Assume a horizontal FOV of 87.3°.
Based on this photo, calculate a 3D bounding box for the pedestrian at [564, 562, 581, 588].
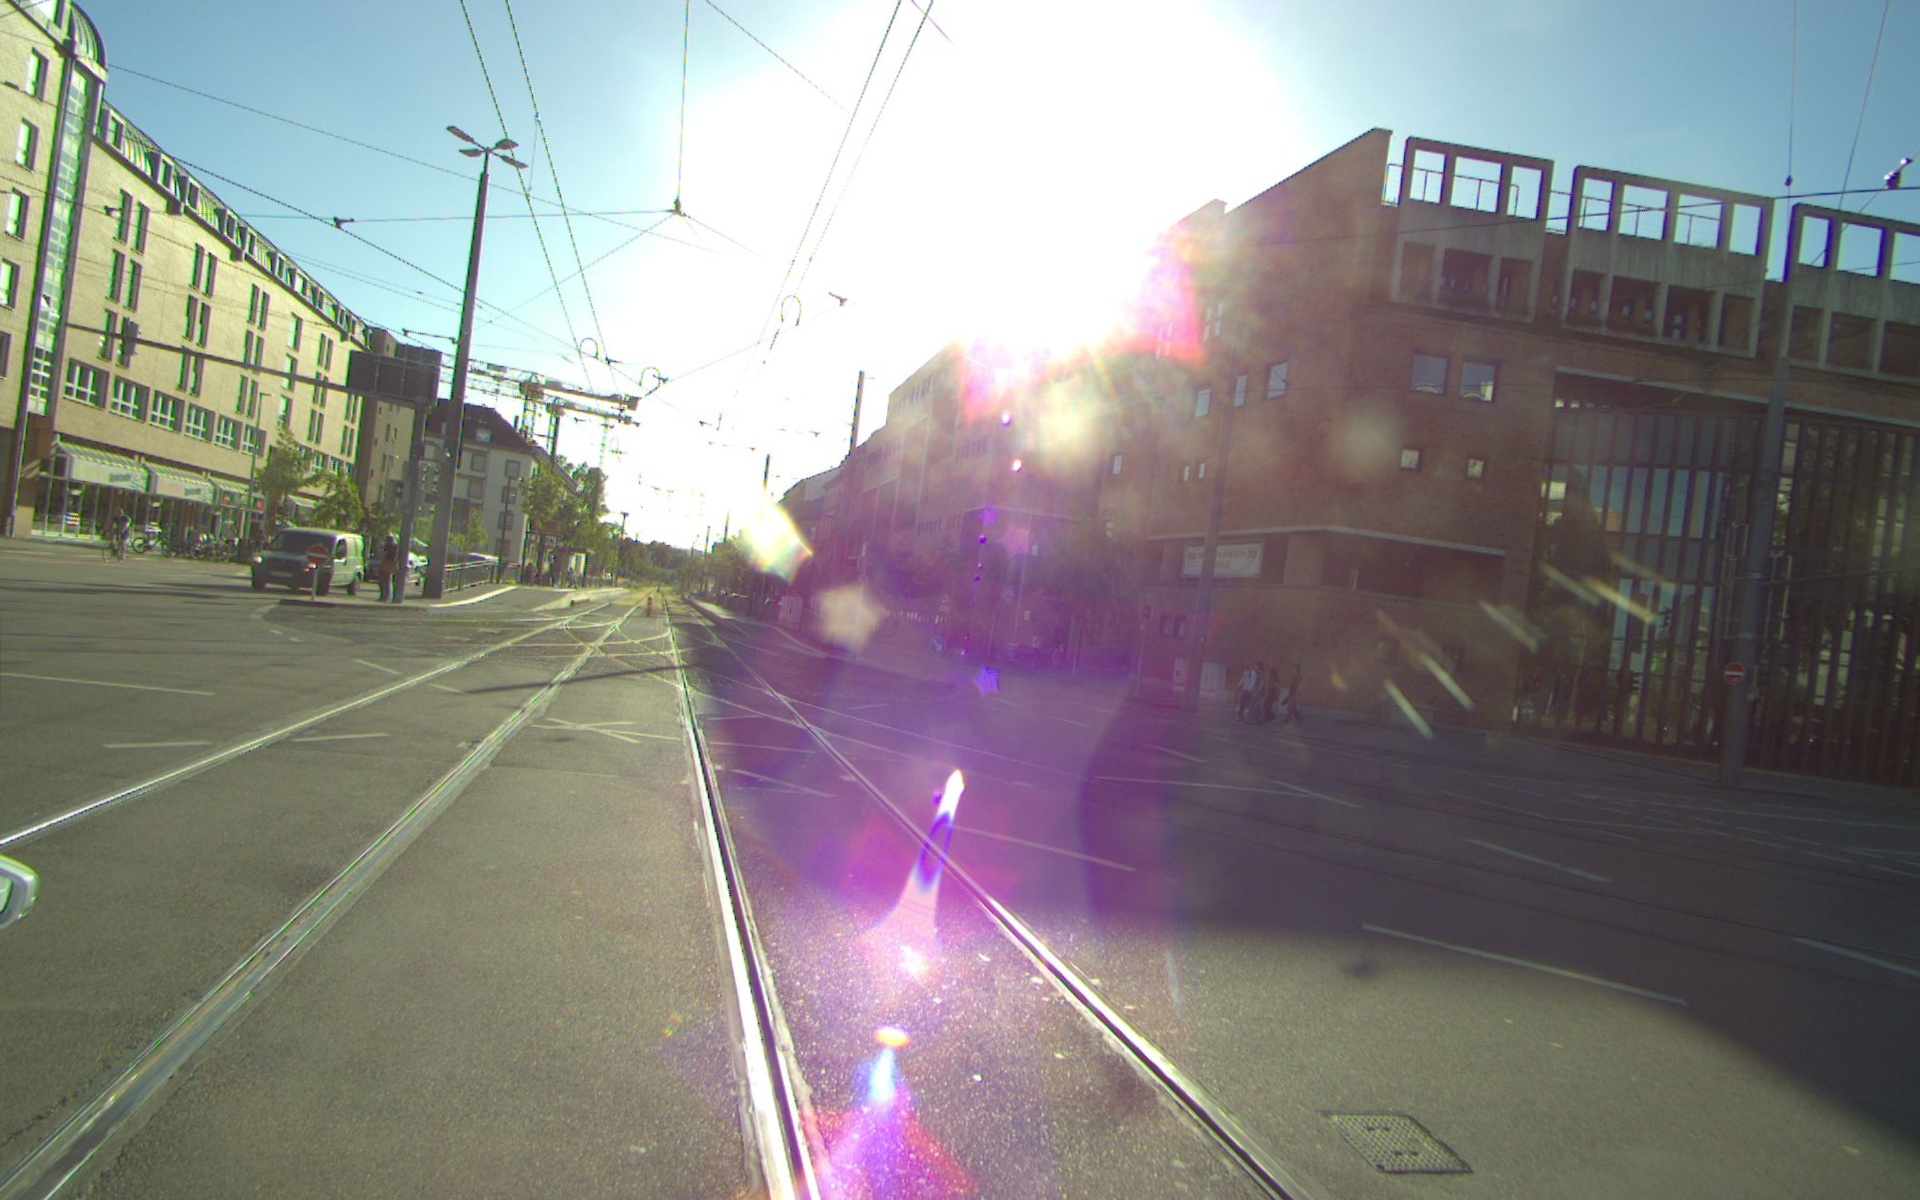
[{"bbox_3d":[-27.435,-1.751,71.171,0.853,1.691,0.779,8,1,-27],"label":"pedestrian"}]

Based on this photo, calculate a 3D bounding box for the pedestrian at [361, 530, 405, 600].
[{"bbox_3d":[-15.235,-0.906,26.567,0.712,1.748,0.592,7,0,-15],"label":"pedestrian"}]

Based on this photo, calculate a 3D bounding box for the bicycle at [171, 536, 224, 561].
[{"bbox_3d":[-36.879,-2.497,48.690,2.004,0.932,0.482,7,0,-6],"label":"bicycle"}]

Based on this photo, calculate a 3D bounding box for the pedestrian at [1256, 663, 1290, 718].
[{"bbox_3d":[9.190,2.656,29.574,0.544,1.495,0.568,7,1,-34],"label":"pedestrian"}]

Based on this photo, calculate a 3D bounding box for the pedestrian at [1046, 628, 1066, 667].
[{"bbox_3d":[4.729,2.349,49.708,0.632,1.808,0.686,6,0,-13],"label":"pedestrian"}]

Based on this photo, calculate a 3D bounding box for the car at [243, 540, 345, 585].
[{"bbox_3d":[-23.380,-1.281,35.481,1.817,1.284,4.214,6,-1,-18],"label":"car"}]

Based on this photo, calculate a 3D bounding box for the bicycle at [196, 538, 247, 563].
[{"bbox_3d":[-36.635,-2.452,49.909,2.004,0.932,0.482,7,0,-6],"label":"bicycle"}]

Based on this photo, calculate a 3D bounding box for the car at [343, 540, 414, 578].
[{"bbox_3d":[-26.863,-1.868,46.597,1.817,1.466,4.283,6,-1,-17],"label":"car"}]

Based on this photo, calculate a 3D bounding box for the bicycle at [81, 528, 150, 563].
[{"bbox_3d":[-28.843,-1.833,34.411,0.800,1.003,2.500,7,-1,-17],"label":"bicycle"}]

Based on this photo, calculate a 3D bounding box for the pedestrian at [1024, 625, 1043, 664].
[{"bbox_3d":[3.602,2.153,49.030,0.540,1.809,0.571,7,3,-13],"label":"pedestrian"}]

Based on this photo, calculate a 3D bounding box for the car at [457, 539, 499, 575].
[{"bbox_3d":[-46.247,-4.139,96.662,2.350,3.036,8.434,7,0,-19],"label":"car"}]

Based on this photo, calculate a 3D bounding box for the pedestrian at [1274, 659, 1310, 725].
[{"bbox_3d":[9.550,2.635,28.928,0.566,1.808,0.546,6,0,-24],"label":"pedestrian"}]

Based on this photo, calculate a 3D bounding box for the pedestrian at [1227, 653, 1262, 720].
[{"bbox_3d":[8.091,2.454,28.606,0.566,1.808,0.546,6,0,-24],"label":"pedestrian"}]

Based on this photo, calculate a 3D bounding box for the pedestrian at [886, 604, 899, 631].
[{"bbox_3d":[-4.766,1.256,70.886,0.632,1.808,0.686,6,0,-15],"label":"pedestrian"}]

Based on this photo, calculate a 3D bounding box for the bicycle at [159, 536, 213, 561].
[{"bbox_3d":[-36.457,-2.418,47.374,2.004,0.855,0.482,7,0,-6],"label":"bicycle"}]

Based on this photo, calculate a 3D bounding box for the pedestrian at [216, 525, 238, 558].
[{"bbox_3d":[-41.834,-3.342,57.444,0.707,1.786,0.564,6,0,-14],"label":"pedestrian"}]

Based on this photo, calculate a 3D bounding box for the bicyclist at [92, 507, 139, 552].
[{"bbox_3d":[-28.729,-2.381,34.237,0.800,1.394,0.922,7,0,-18],"label":"bicyclist"}]

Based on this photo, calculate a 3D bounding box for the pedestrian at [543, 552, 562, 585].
[{"bbox_3d":[-25.405,-1.955,62.726,0.853,1.909,0.732,8,1,-27],"label":"pedestrian"}]

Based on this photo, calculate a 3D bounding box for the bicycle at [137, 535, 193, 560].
[{"bbox_3d":[-36.220,-2.410,45.859,2.004,0.855,0.482,7,0,-6],"label":"bicycle"}]

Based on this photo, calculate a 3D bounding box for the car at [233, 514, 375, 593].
[{"bbox_3d":[-18.079,-1.210,27.960,1.815,1.858,4.098,6,-1,-12],"label":"car"}]

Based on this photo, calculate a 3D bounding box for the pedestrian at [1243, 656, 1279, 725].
[{"bbox_3d":[8.366,2.516,27.943,0.566,1.808,0.546,6,0,-24],"label":"pedestrian"}]

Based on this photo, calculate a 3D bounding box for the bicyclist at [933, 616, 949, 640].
[{"bbox_3d":[-1.158,1.709,60.715,0.638,1.355,0.651,7,0,-15],"label":"bicyclist"}]

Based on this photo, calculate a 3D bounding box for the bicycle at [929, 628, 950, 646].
[{"bbox_3d":[-1.230,2.225,60.729,0.640,0.915,2.339,7,-1,-15],"label":"bicycle"}]

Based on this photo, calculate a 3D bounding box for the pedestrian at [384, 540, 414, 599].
[{"bbox_3d":[-15.896,-0.858,28.495,0.576,1.596,0.642,7,0,-30],"label":"pedestrian"}]
